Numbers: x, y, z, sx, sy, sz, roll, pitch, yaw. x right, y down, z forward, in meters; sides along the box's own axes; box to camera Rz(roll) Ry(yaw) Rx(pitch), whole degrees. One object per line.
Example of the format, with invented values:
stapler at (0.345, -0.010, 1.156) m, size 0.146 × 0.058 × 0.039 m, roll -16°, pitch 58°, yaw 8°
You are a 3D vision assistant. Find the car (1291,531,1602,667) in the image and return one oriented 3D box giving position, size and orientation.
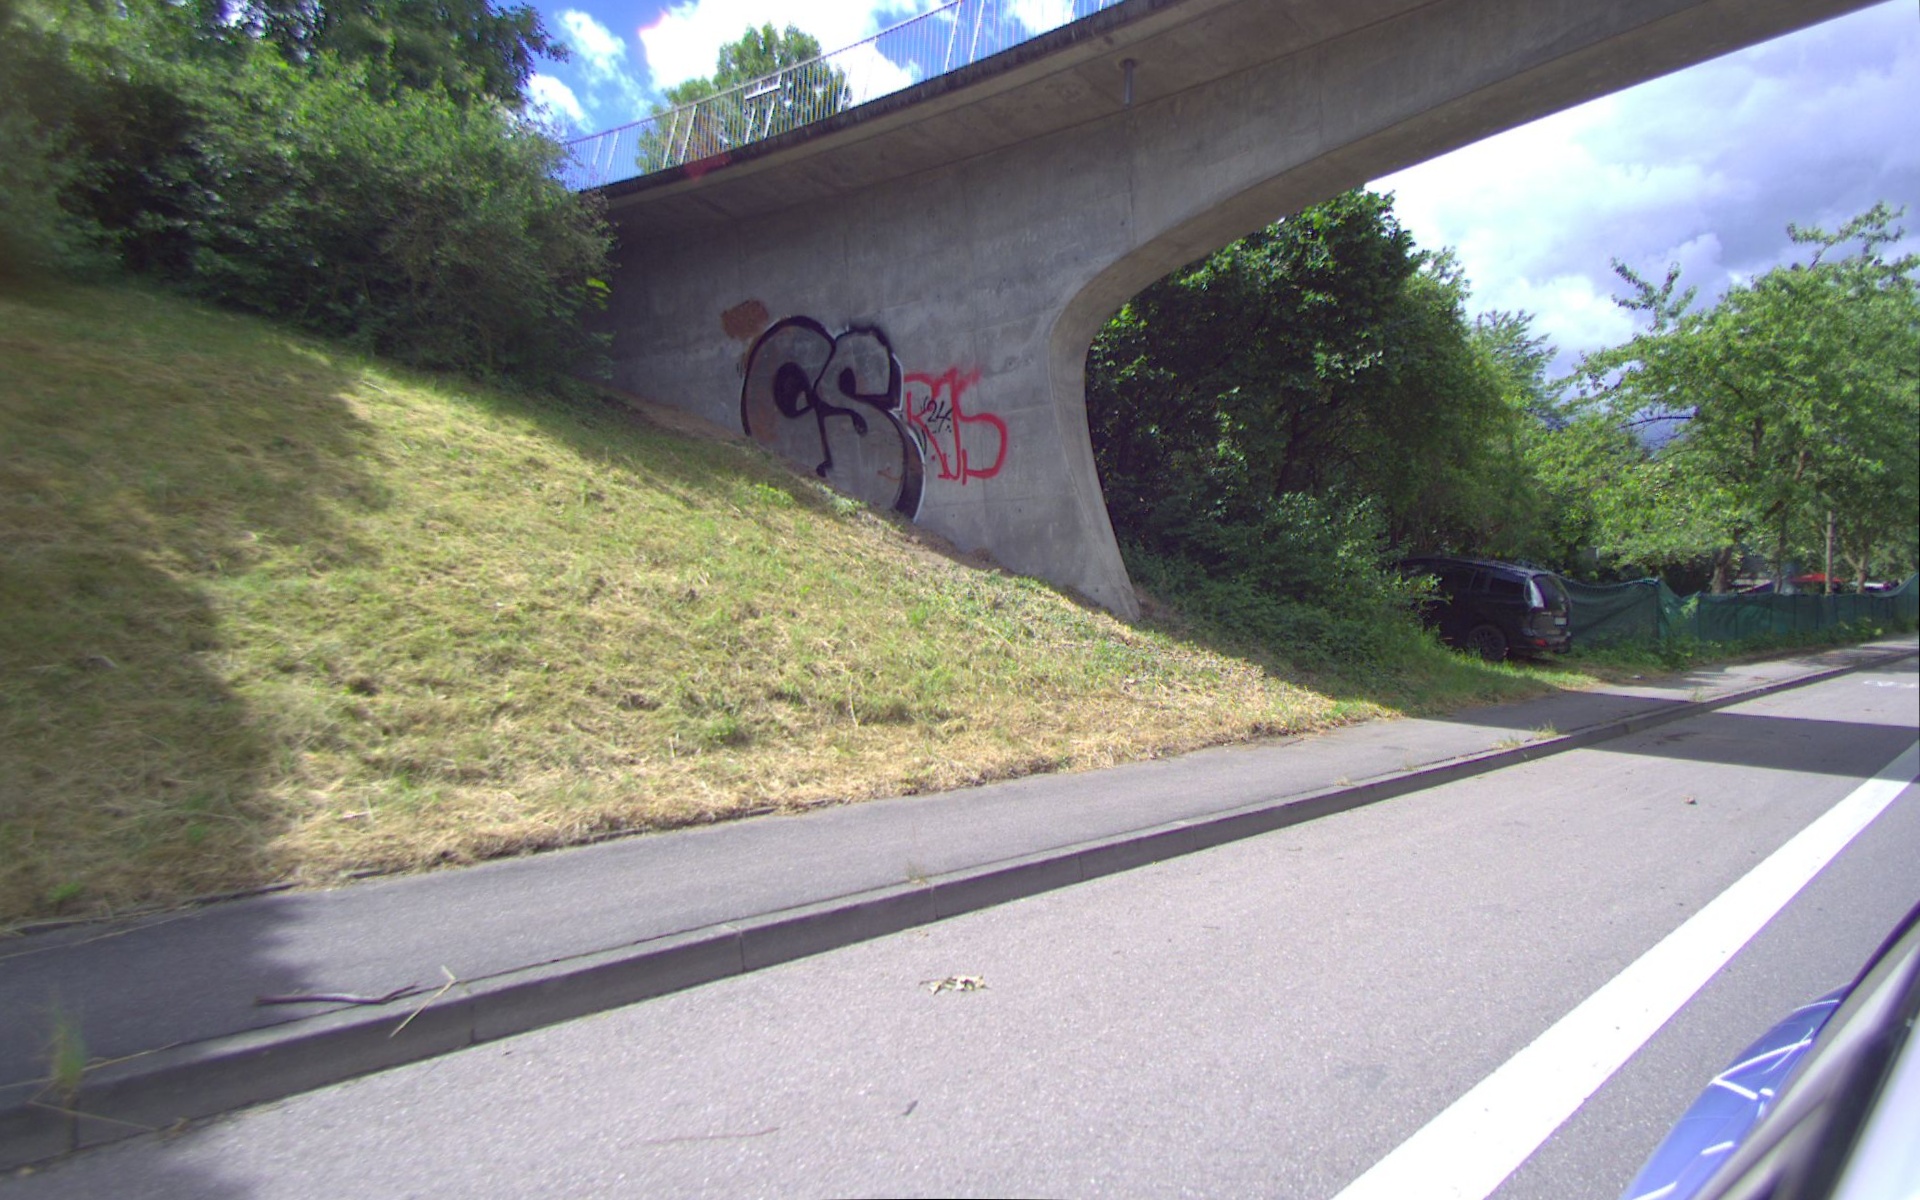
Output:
car at (8.603, -0.173, 18.280) m, size 1.964 × 1.689 × 4.543 m, roll -3°, pitch 10°, yaw -38°
